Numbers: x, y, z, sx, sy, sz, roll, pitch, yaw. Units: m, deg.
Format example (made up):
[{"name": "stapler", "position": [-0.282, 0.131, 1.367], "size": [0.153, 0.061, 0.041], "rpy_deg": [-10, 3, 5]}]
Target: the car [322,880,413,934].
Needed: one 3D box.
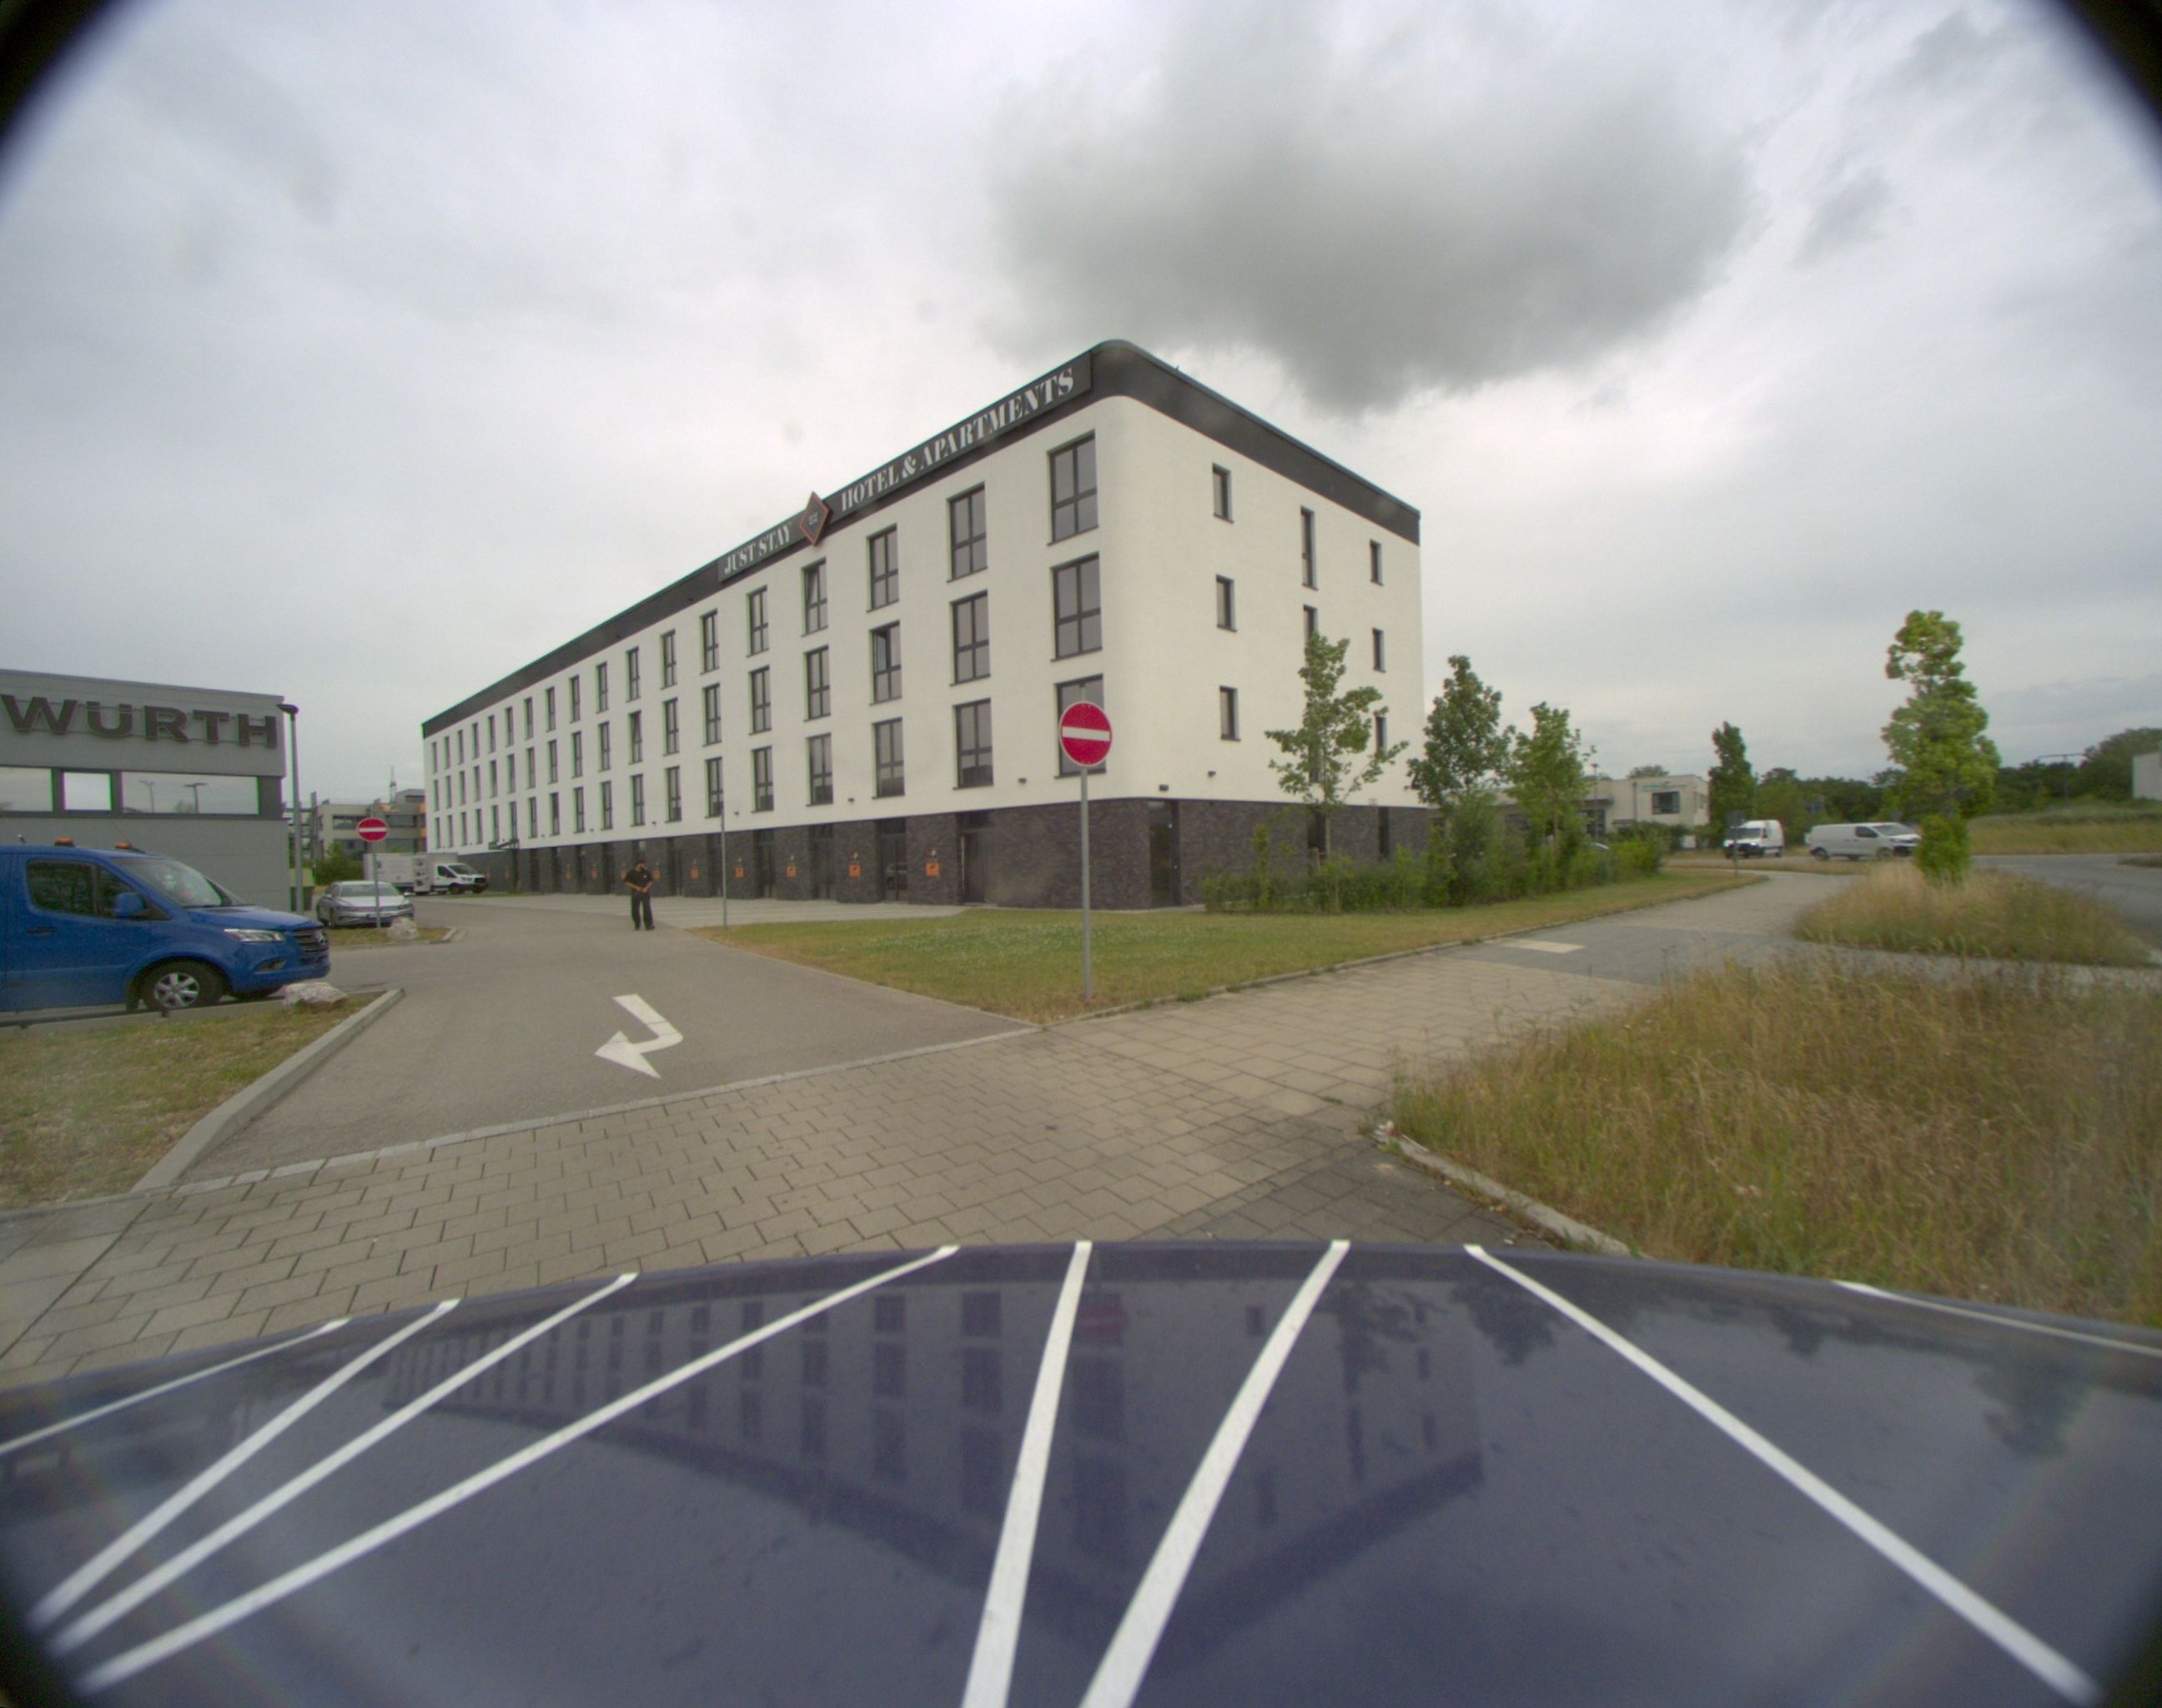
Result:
[{"name": "car", "position": [-23.014, 1.613, 24.512], "size": [1.985, 1.483, 4.757], "rpy_deg": [0, -1, -44]}]

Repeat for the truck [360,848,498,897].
[{"name": "truck", "position": [-43.964, 1.218, 51.361], "size": [7.064, 2.999, 2.436], "rpy_deg": [-2, 2, 0]}]

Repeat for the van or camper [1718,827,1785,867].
[{"name": "van or camper", "position": [46.673, -0.539, 52.841], "size": [5.474, 2.567, 1.995], "rpy_deg": [-2, 2, -32]}]

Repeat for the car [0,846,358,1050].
[{"name": "car", "position": [-14.331, 1.166, 9.077], "size": [7.868, 2.309, 2.196], "rpy_deg": [-2, 1, -28]}]

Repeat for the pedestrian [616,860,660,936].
[{"name": "pedestrian", "position": [-11.118, 1.080, 19.050], "size": [0.711, 1.812, 0.811], "rpy_deg": [-3, 1, -45]}]

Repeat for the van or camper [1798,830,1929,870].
[{"name": "van or camper", "position": [40.468, -0.200, 39.494], "size": [1.981, 1.880, 4.843], "rpy_deg": [-1, 0, 3]}]
